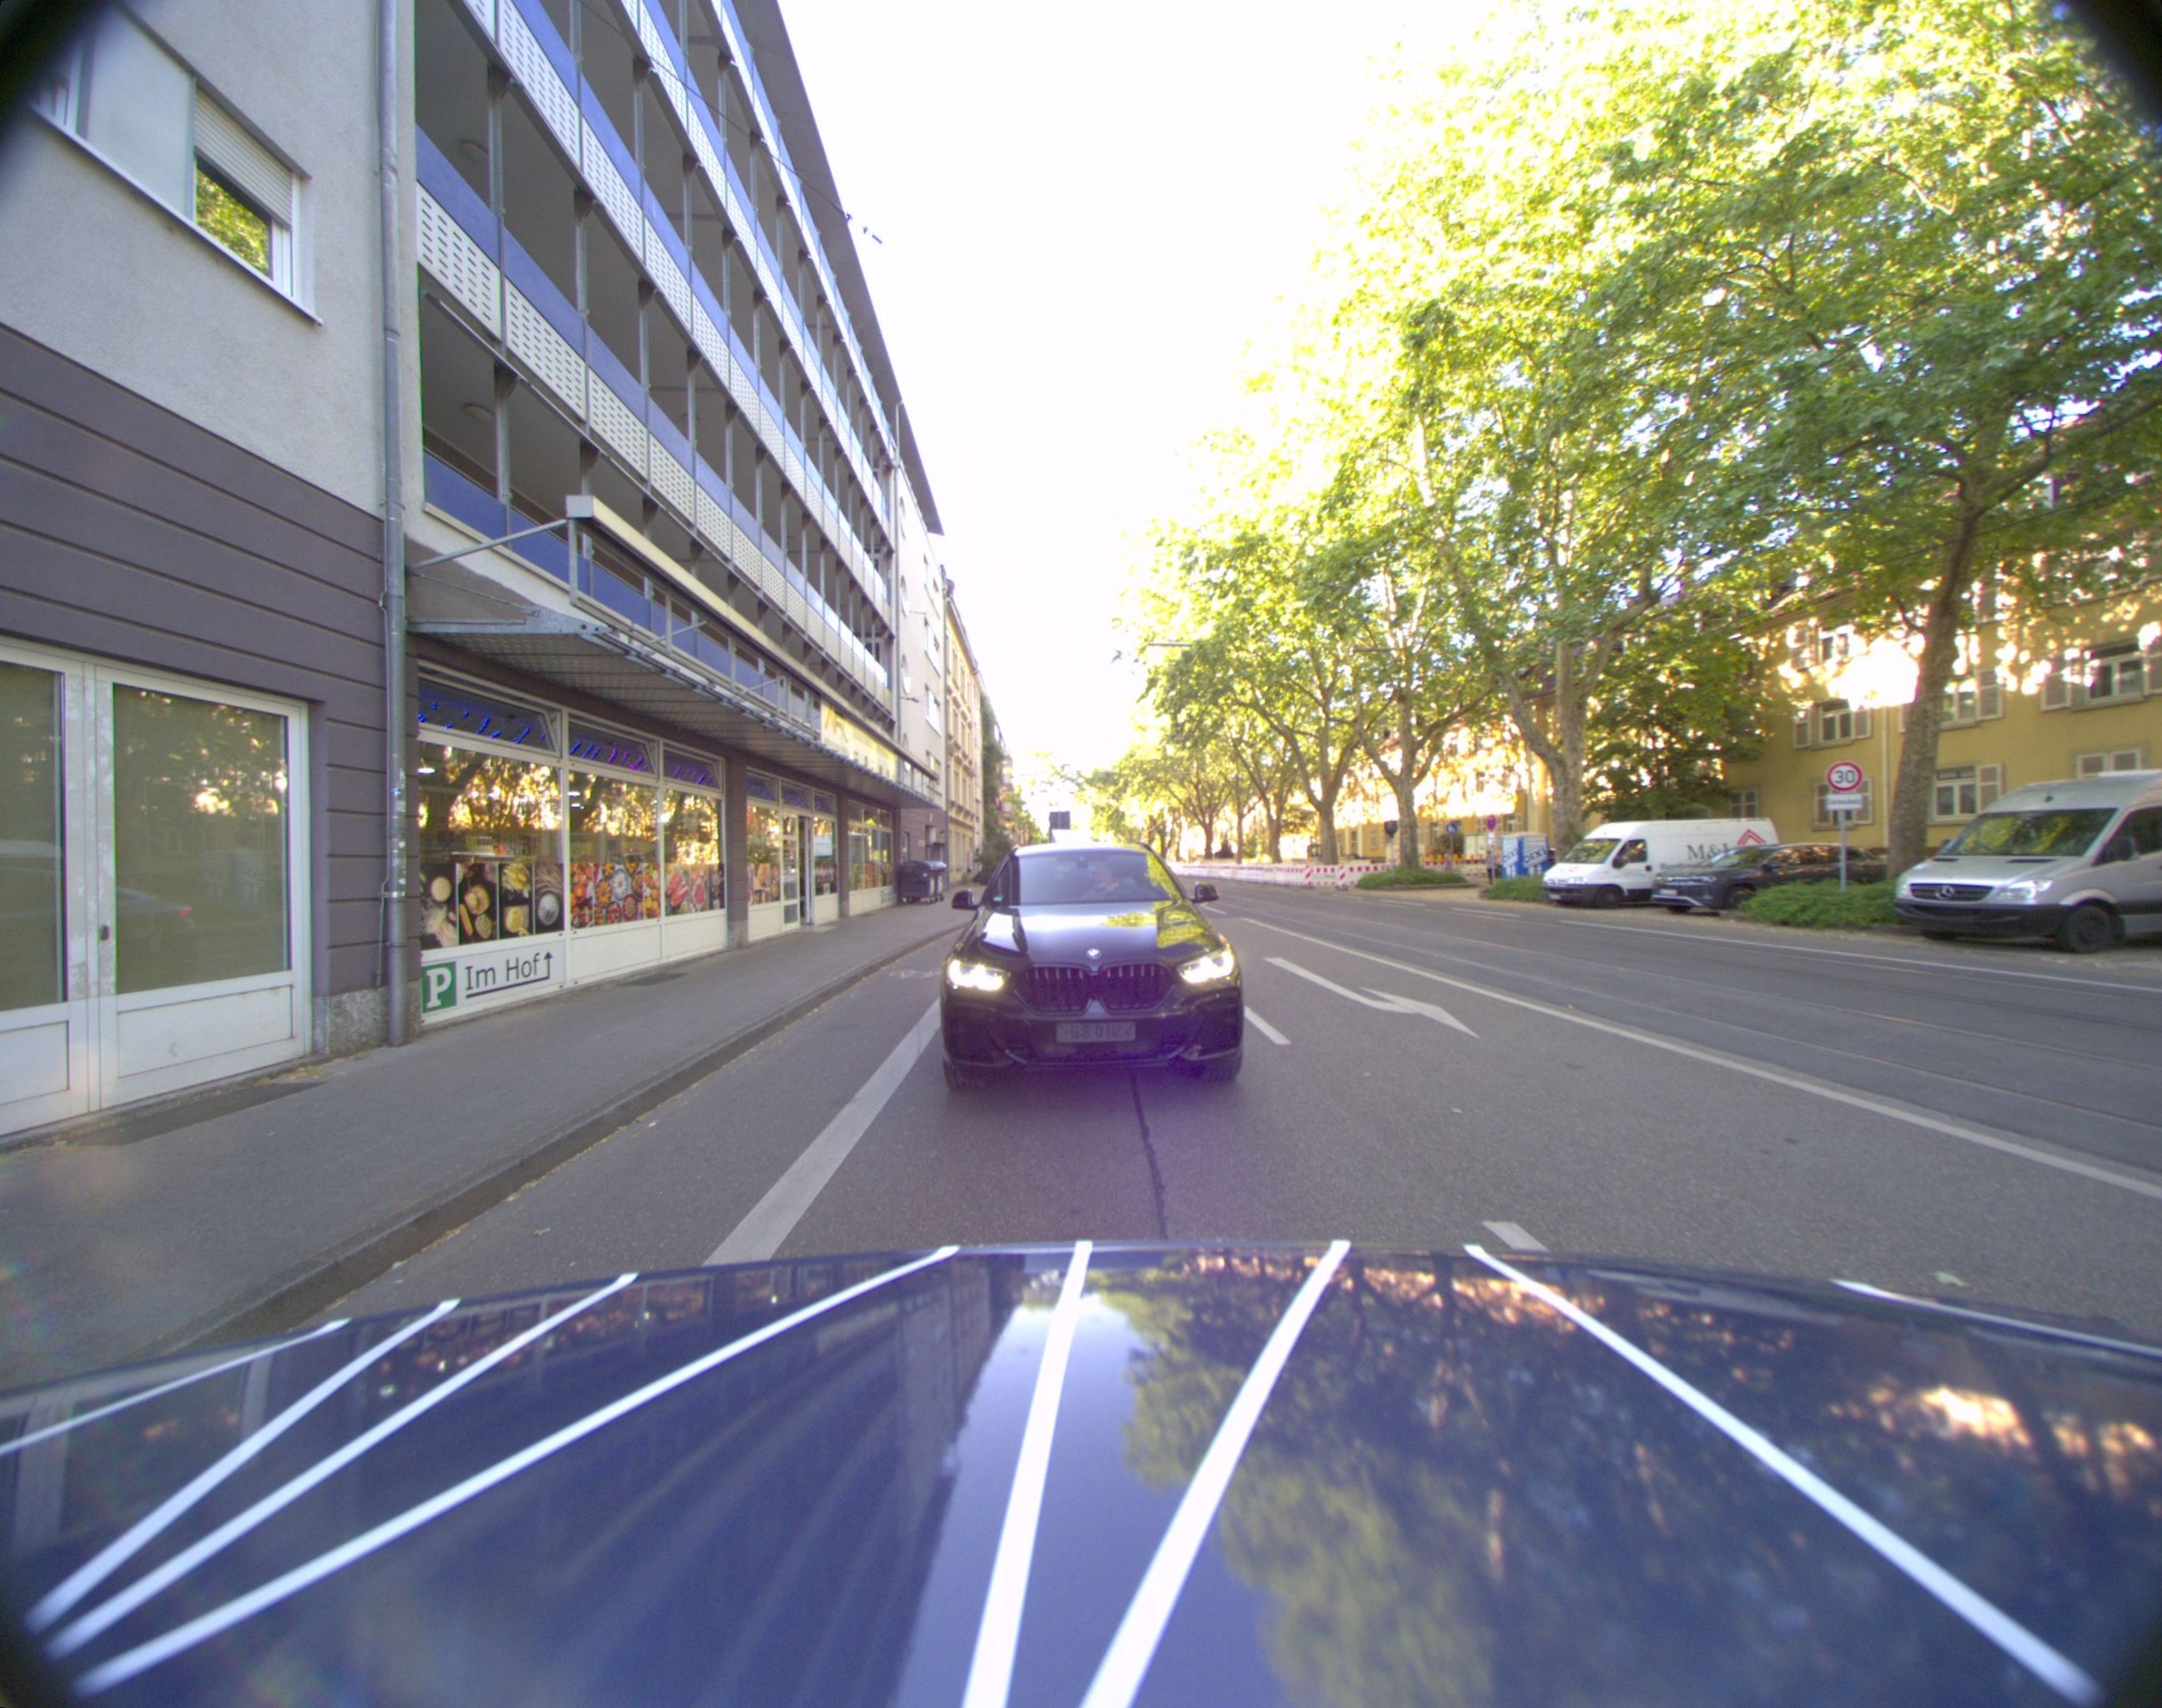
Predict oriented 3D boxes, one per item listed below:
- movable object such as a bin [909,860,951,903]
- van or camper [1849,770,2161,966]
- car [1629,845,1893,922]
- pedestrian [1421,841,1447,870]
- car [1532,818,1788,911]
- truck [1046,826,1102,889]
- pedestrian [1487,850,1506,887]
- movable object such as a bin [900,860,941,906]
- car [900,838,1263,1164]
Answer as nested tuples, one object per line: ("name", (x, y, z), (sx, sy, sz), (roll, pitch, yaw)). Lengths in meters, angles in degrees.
("movable object such as a bin", (-5.285, 0.951, 26.716), (1.122, 1.437, 1.306), (-1, 0, 4))
("van or camper", (16.091, 0.130, 11.808), (6.127, 2.661, 2.229), (-2, 0, -2))
("car", (15.942, 0.660, 17.982), (4.575, 1.621, 1.969), (-1, 0, -2))
("pedestrian", (24.044, 0.102, 51.796), (1.098, 2.002, 1.235), (-1, 0, -4))
("car", (15.853, 0.277, 21.008), (5.612, 2.361, 2.025), (-1, 0, -2))
("truck", (-0.573, 0.202, 43.165), (2.385, 3.165, 8.525), (2, 0, -5))
("pedestrian", (17.755, 0.607, 32.492), (0.595, 1.563, 0.719), (-1, 0, 37))
("movable object such as a bin", (-5.226, 0.931, 24.821), (1.069, 1.438, 1.296), (-1, 0, -1))
("car", (0.026, 0.824, 6.431), (1.943, 1.733, 4.475), (-2, 0, 1))
